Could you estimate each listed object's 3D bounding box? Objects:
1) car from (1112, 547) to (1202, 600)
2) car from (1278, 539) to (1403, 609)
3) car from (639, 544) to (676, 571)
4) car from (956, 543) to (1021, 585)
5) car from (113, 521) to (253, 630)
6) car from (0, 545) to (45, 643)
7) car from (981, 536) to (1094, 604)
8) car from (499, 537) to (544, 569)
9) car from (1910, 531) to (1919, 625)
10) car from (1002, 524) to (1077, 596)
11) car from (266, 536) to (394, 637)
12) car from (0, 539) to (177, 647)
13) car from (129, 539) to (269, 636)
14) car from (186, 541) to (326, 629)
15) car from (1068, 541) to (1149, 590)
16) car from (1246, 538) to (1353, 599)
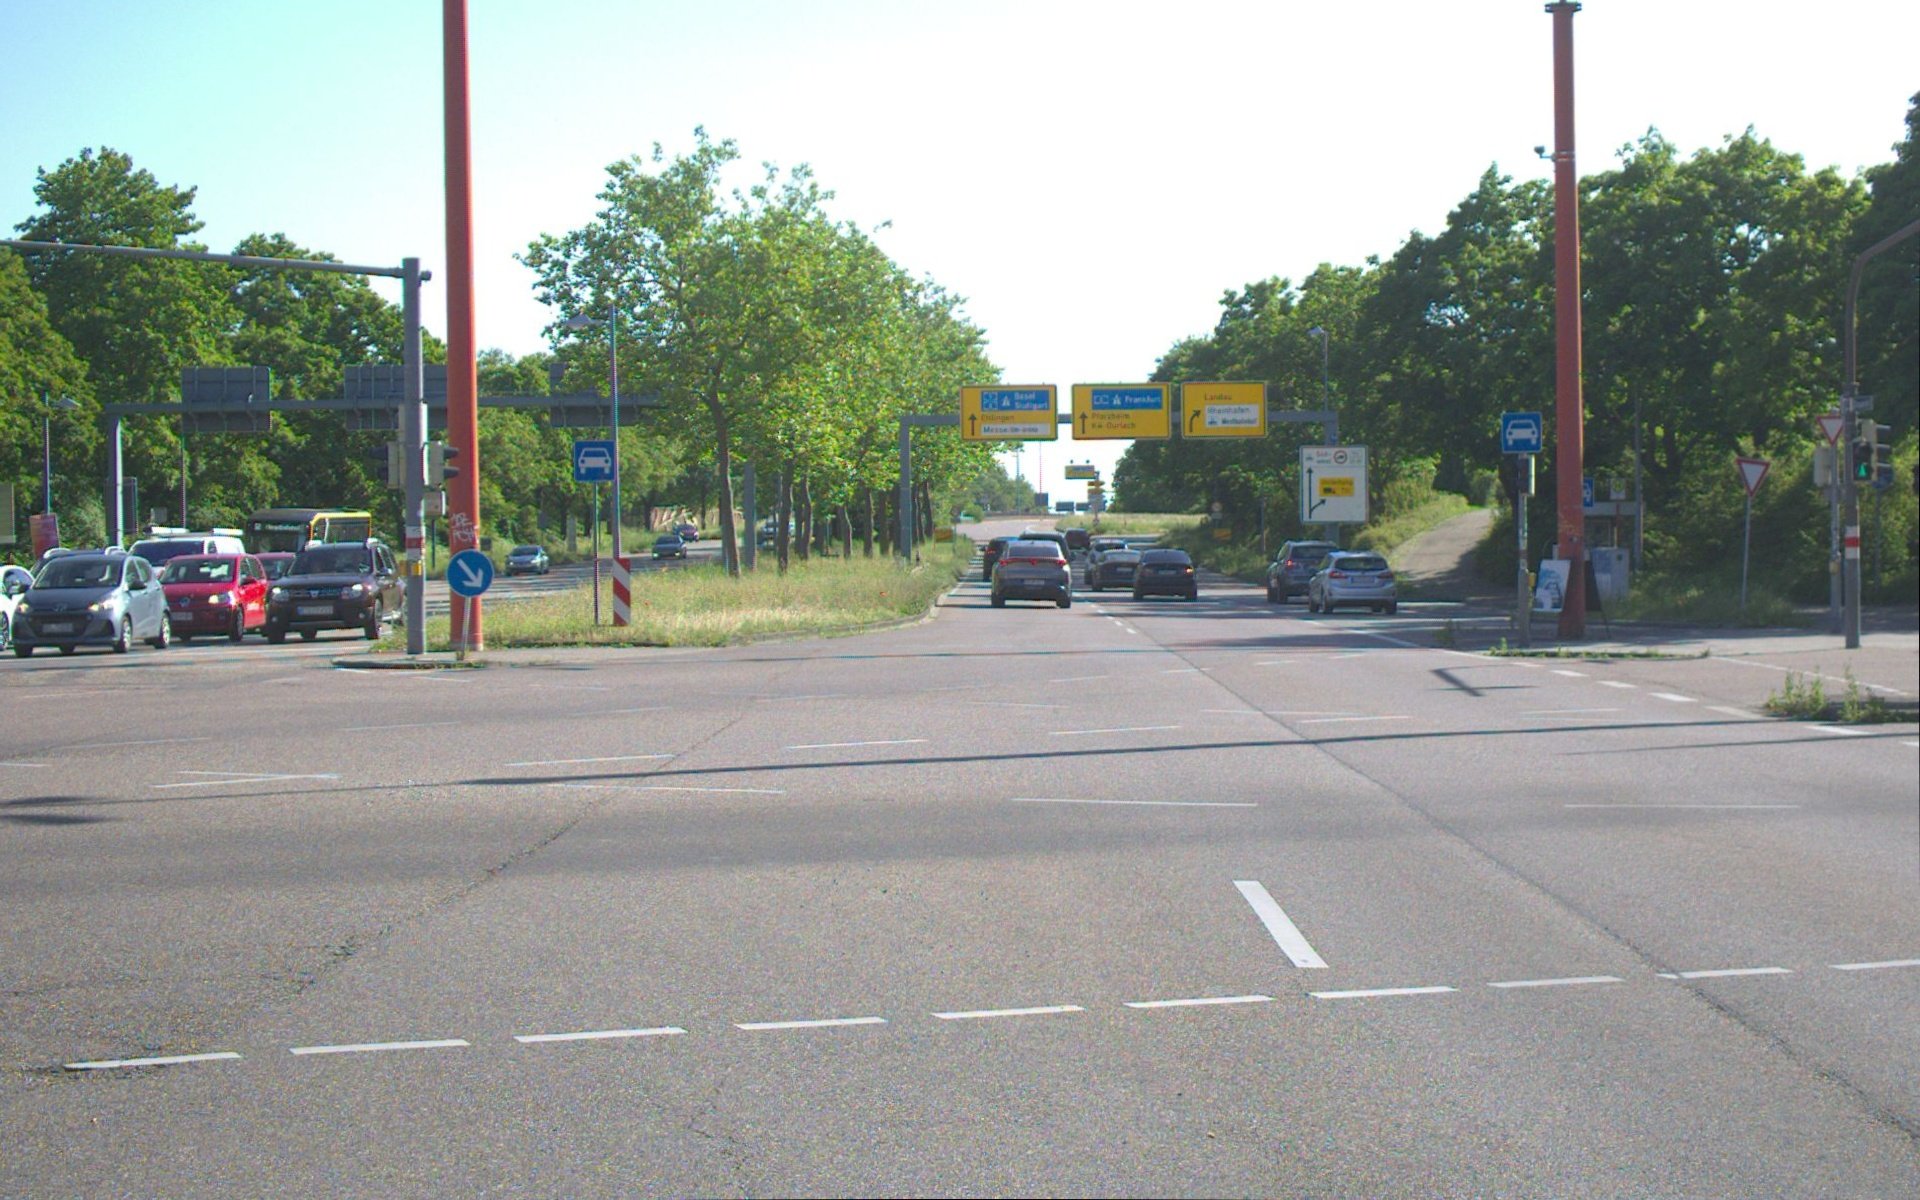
[{"bbox_3d":[5.461,-0.749,95.582,1.953,1.437,4.281,-1,1,-4],"label":"car"},{"bbox_3d":[8.866,-0.620,80.479,2.158,1.568,4.281,-1,1,-4],"label":"car"},{"bbox_3d":[-18.153,-2.579,206.488,1.993,1.568,4.121,-1,1,-3],"label":"car"},{"bbox_3d":[1.080,-1.415,132.715,2.158,1.568,4.281,-1,1,-4],"label":"car"},{"bbox_3d":[-16.113,-0.533,71.519,2.062,2.185,4.379,-1,1,-2],"label":"car"},{"bbox_3d":[-16.487,-0.108,57.047,1.993,1.568,4.122,-2,1,-8],"label":"car"},{"bbox_3d":[1.828,-0.728,82.521,2.245,1.568,4.282,-1,1,-5],"label":"car"},{"bbox_3d":[-21.790,-2.343,170.795,1.993,1.568,4.121,-1,1,-4],"label":"car"},{"bbox_3d":[18.236,-0.394,57.363,4.272,1.568,2.163,0,1,26],"label":"car"},{"bbox_3d":[2.259,-1.149,98.649,1.993,2.007,4.000,-1,1,-1],"label":"car"},{"bbox_3d":[-10.247,-0.248,56.158,1.876,1.568,4.122,-1,1,-8],"label":"car"},{"bbox_3d":[-13.252,-0.135,52.177,1.993,1.568,4.121,-1,1,-3],"label":"car"},{"bbox_3d":[-12.898,-0.239,58.479,1.993,1.568,4.122,-1,1,-8],"label":"car"},{"bbox_3d":[-13.115,-0.300,64.258,1.993,1.568,4.121,-1,1,-4],"label":"car"},{"bbox_3d":[4.835,-1.144,112.424,2.158,1.568,4.281,-1,1,-4],"label":"car"},{"bbox_3d":[9.079,-0.857,92.342,2.158,1.568,4.281,-1,1,-4],"label":"car"}]
